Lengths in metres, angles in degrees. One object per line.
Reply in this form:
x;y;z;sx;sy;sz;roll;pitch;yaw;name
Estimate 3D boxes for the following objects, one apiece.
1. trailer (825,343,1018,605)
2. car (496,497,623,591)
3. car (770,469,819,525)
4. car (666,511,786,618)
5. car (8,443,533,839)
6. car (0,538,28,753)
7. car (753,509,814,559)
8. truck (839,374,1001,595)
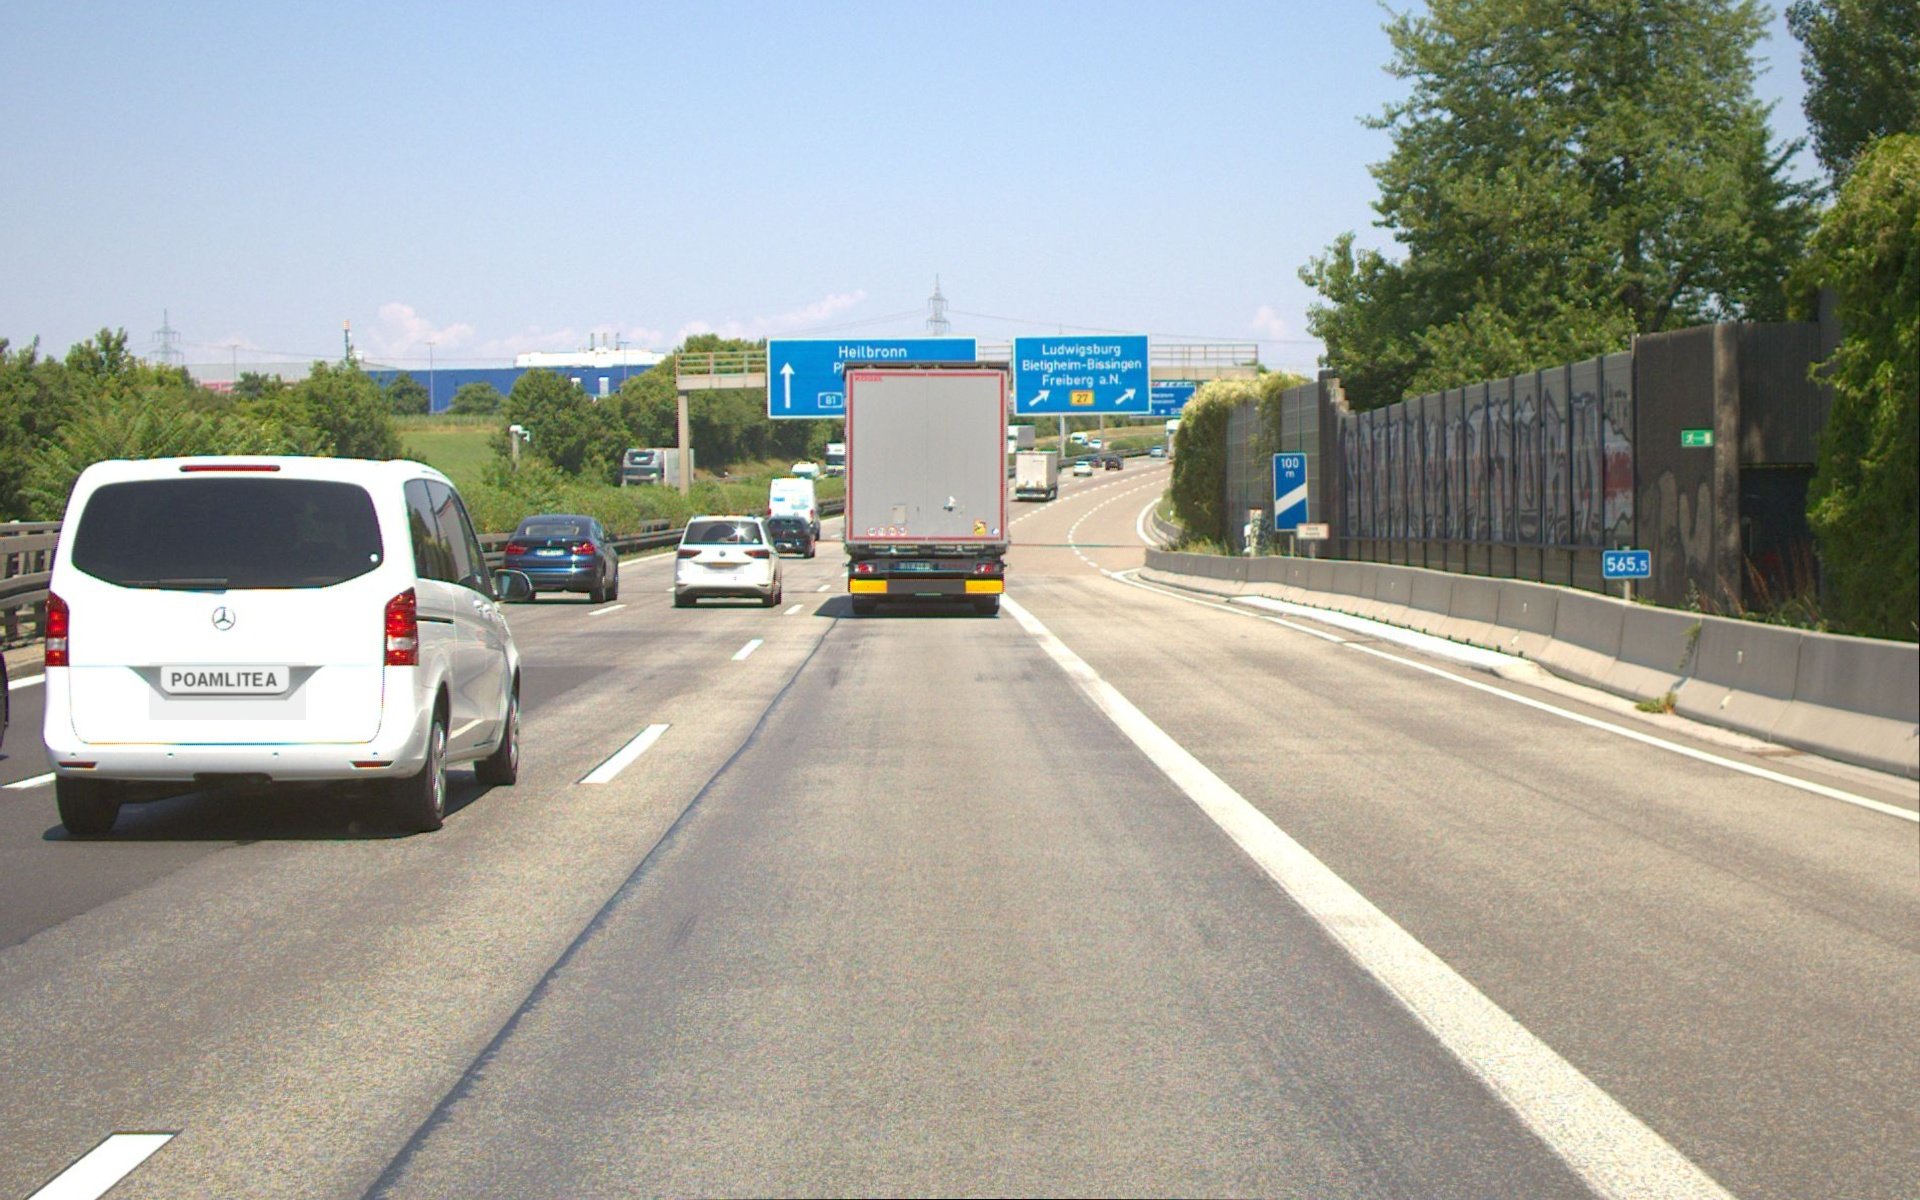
-0.673;-2.057;59.006;2.928;4.001;12.039;0;1;-1;trailer
-7.486;-1.064;64.628;1.904;1.683;4.631;0;1;-1;car
-7.322;-4.574;152.771;1.993;2.366;4.000;1;0;-1;car
-4.178;-0.665;61.947;1.904;1.845;4.631;0;1;-1;car
-3.529;0.147;18.489;1.930;1.845;4.693;0;1;-1;car
-7.129;0.329;20.629;1.756;1.404;5.040;0;1;-1;car
-6.075;-2.294;118.813;1.904;1.683;4.631;0;1;-1;car
-0.781;-2.183;66.590;2.928;4.001;7.584;0;1;-1;truck
